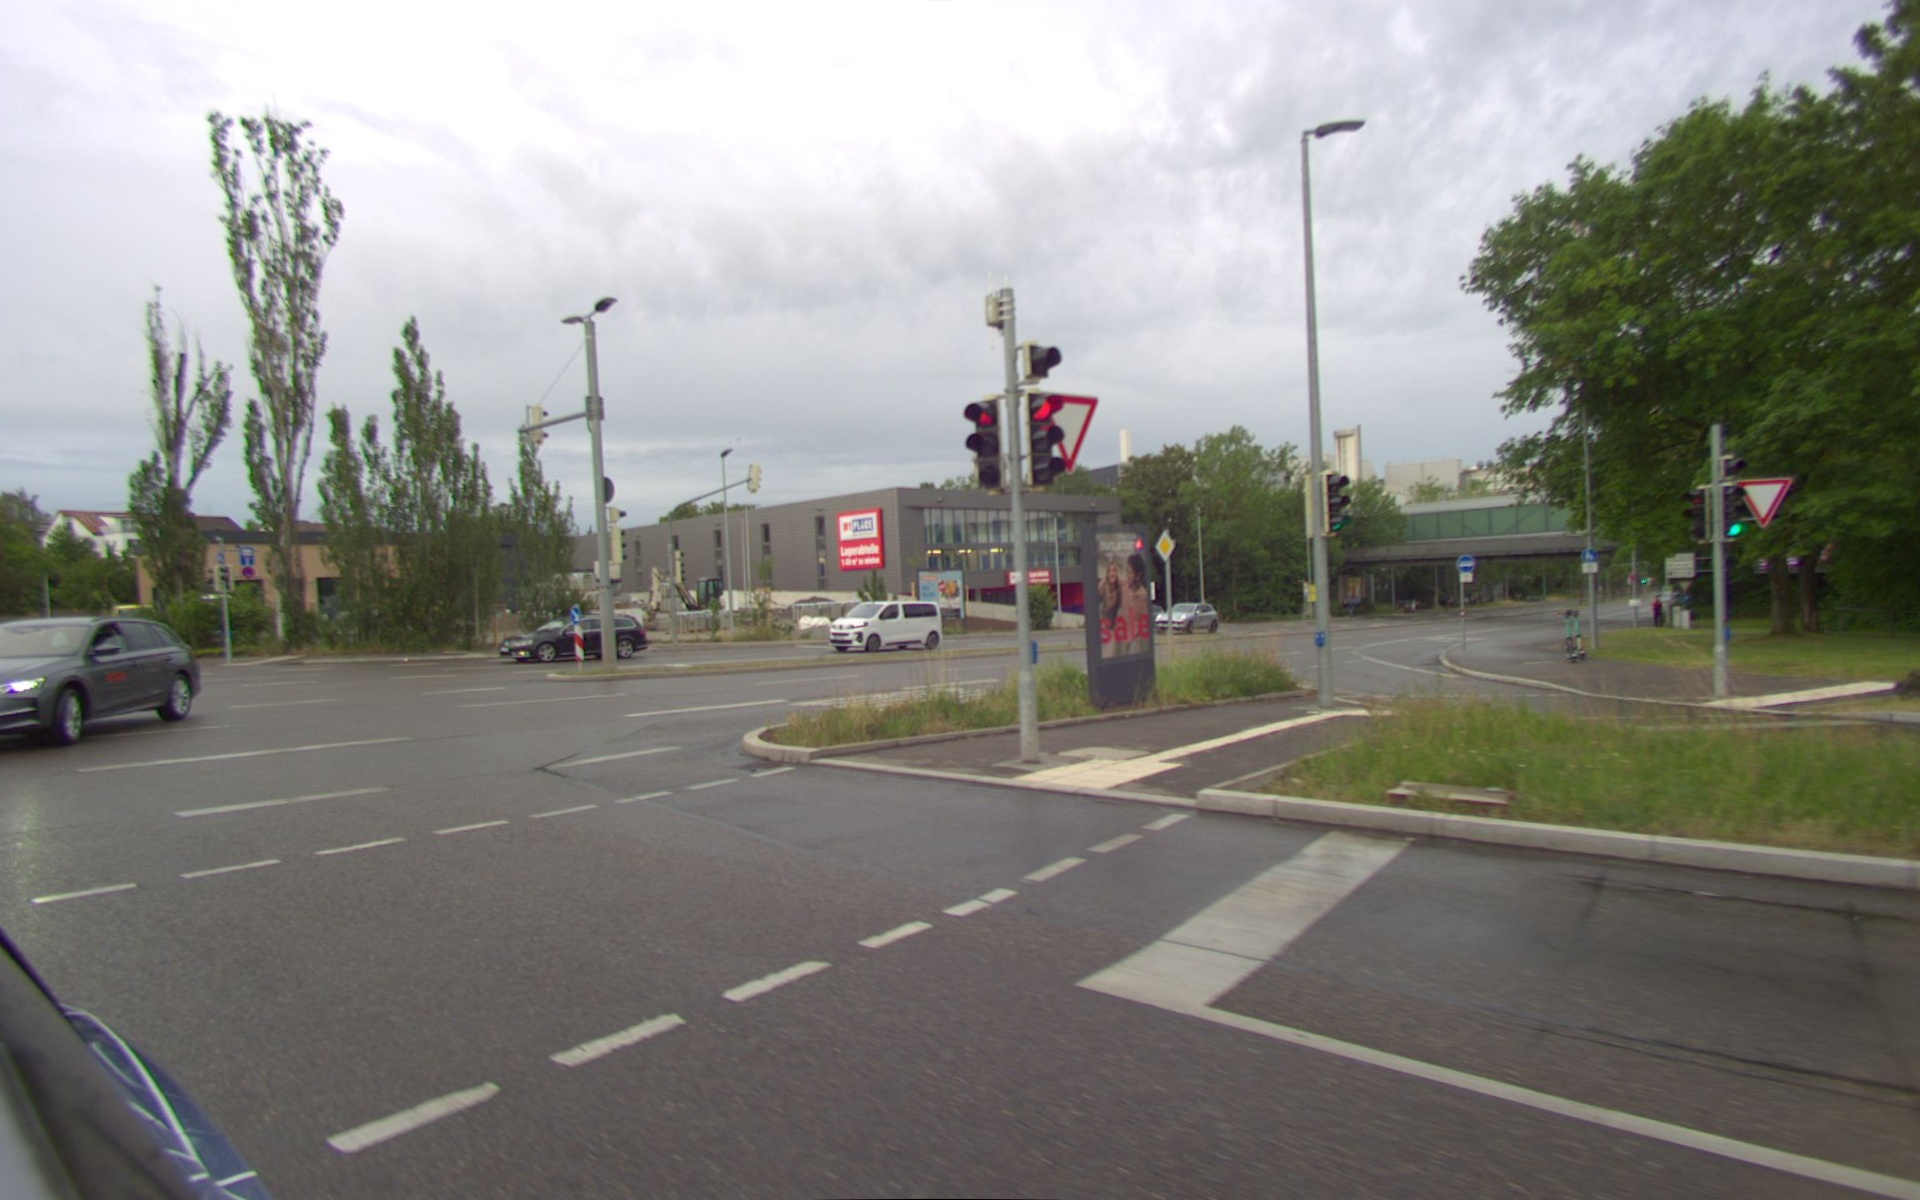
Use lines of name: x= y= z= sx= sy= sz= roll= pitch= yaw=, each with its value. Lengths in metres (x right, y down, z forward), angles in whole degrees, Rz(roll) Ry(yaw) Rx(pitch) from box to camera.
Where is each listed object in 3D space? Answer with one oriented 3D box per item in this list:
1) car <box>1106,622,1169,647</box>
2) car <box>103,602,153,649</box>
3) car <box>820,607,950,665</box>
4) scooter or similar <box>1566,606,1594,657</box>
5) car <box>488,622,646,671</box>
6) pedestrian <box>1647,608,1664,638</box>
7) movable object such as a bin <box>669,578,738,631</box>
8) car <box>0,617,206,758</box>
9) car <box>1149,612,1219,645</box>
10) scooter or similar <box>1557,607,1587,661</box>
car: x=10.413 y=2.006 z=59.301 sx=1.839 sy=1.415 sz=3.988 roll=-2 pitch=-2 yaw=41
car: x=-43.463 y=1.321 z=52.825 sx=1.720 sy=2.333 sz=5.227 roll=0 pitch=-2 yaw=-43
car: x=-2.784 y=1.319 z=38.754 sx=1.839 sy=2.050 sz=5.123 roll=-2 pitch=-2 yaw=41
scooter or similar: x=15.689 y=0.787 z=25.620 sx=0.515 sy=1.269 sz=1.214 roll=-2 pitch=-1 yaw=29
car: x=-12.588 y=1.470 z=32.657 sx=1.839 sy=1.415 sz=4.422 roll=-2 pitch=-2 yaw=41
pedestrian: x=37.631 y=1.248 z=54.764 sx=0.741 sy=1.641 sz=0.705 roll=-1 pitch=-1 yaw=33
movable object such as a bin: x=-13.464 y=0.252 z=53.204 sx=1.924 sy=2.647 sz=2.963 roll=-2 pitch=-2 yaw=35
car: x=-11.314 y=0.978 z=12.320 sx=1.810 sy=1.468 sz=4.212 roll=-1 pitch=-1 yaw=-12
car: x=12.468 y=1.571 z=56.221 sx=1.839 sy=1.715 sz=4.563 roll=-2 pitch=-2 yaw=41
scooter or similar: x=14.787 y=0.803 z=24.482 sx=0.547 sy=1.269 sz=1.343 roll=-2 pitch=-1 yaw=29
